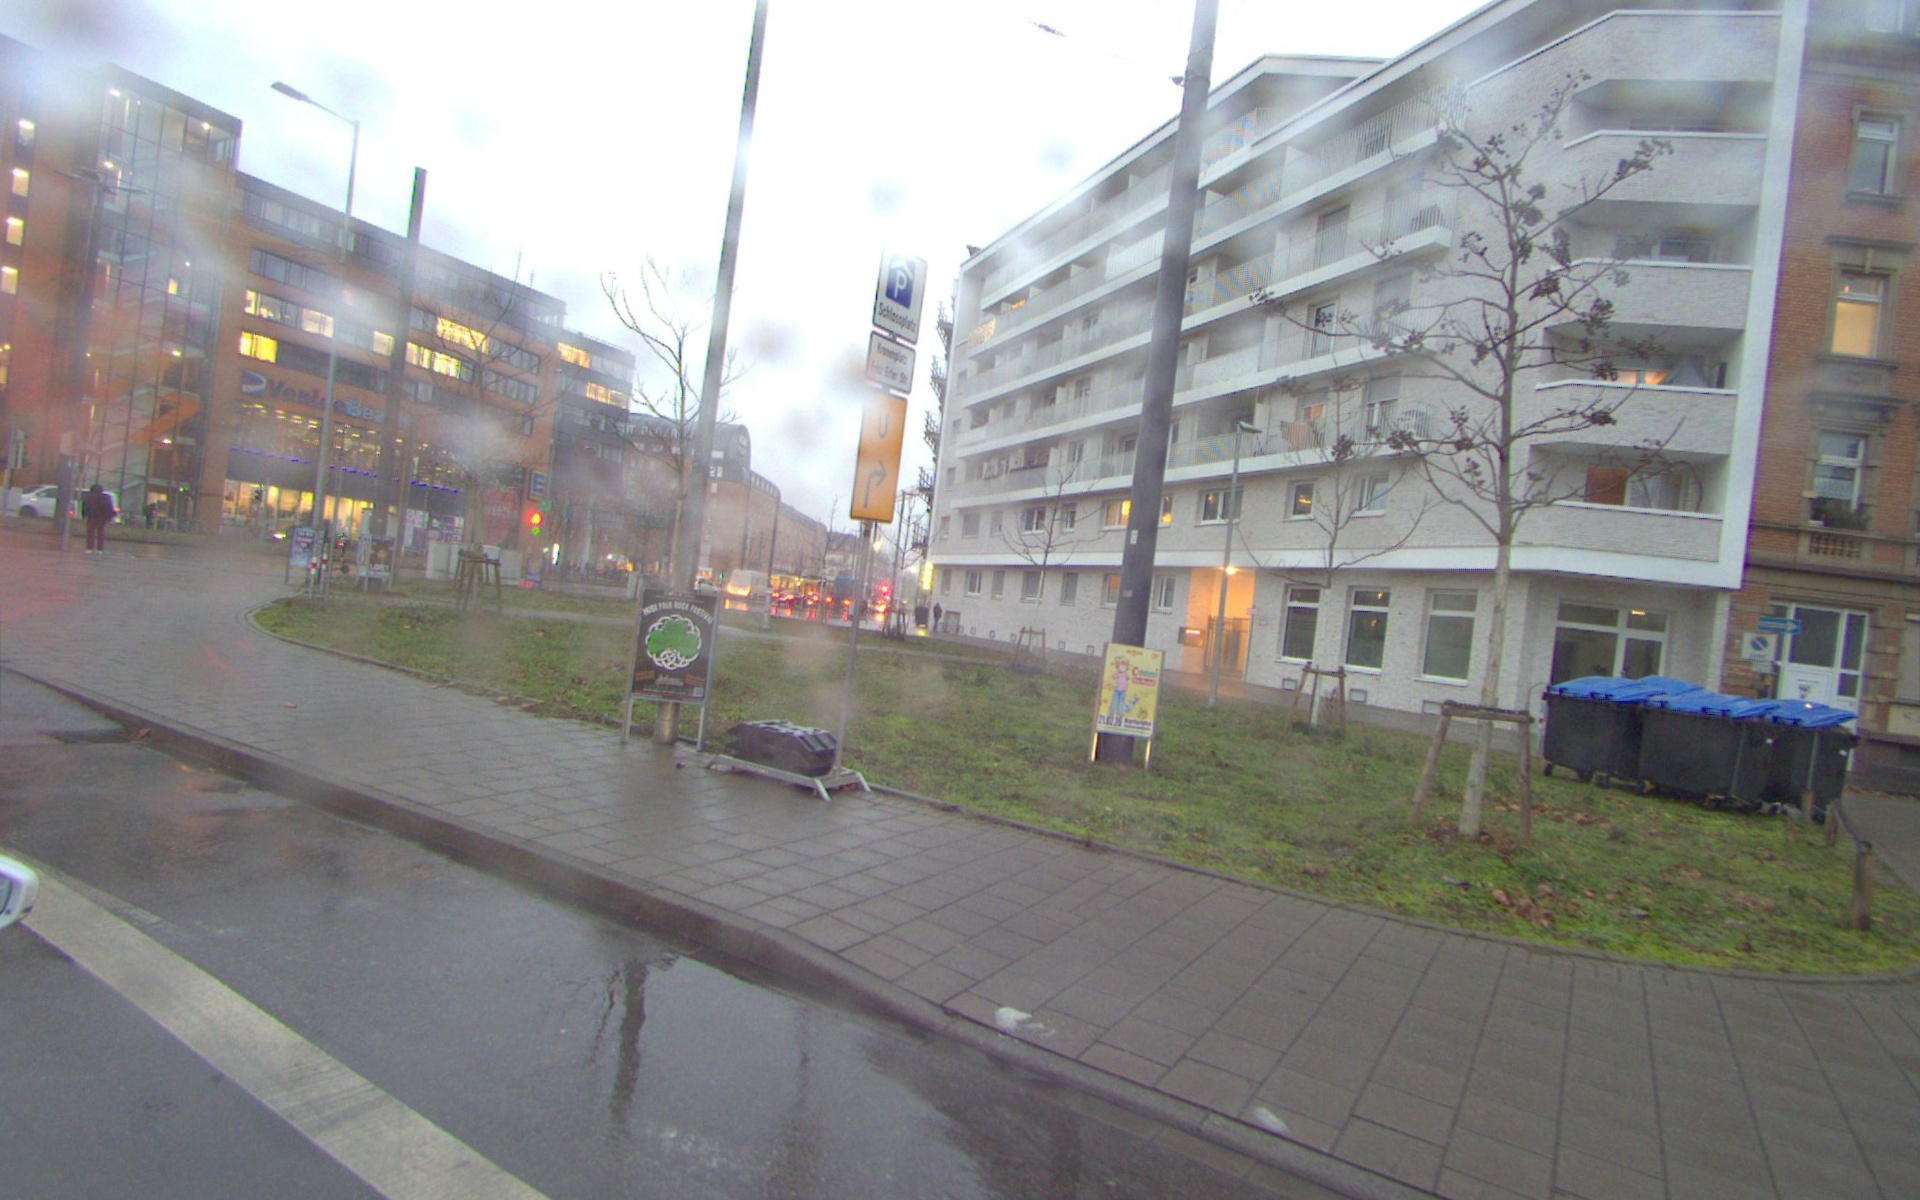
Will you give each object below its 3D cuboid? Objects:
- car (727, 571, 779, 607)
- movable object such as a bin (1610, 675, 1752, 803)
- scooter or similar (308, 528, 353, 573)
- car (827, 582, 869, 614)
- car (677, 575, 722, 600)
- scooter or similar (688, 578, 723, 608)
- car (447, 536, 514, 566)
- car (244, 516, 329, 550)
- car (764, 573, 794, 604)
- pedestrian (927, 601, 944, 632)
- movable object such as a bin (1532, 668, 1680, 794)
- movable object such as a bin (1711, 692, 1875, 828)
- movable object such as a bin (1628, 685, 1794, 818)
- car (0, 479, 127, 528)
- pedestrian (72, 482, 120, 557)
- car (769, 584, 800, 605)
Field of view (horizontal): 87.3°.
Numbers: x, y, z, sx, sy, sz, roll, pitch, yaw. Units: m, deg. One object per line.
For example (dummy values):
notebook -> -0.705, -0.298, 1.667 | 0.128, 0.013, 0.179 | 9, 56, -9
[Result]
car -> -17.392, -0.868, 84.706 | 1.962, 2.456, 5.979 | 7, -1, 10
movable object such as a bin -> 10.379, 1.980, 14.519 | 1.038, 1.595, 1.135 | 7, 0, -19
scooter or similar -> -18.646, -1.448, 29.810 | 0.327, 1.221, 1.309 | 7, 0, 4
car -> -11.975, -0.190, 107.750 | 2.317, 2.860, 6.364 | 7, -1, 12
car -> -19.689, -0.907, 76.239 | 1.613, 1.514, 3.687 | 7, 0, 14
scooter or similar -> -12.329, -0.352, 48.702 | 0.658, 1.241, 1.556 | 6, -2, 26
car -> -37.391, -3.802, 78.552 | 1.893, 1.740, 4.611 | 7, -1, 20
car -> -42.573, -4.209, 63.691 | 1.598, 1.462, 4.426 | 7, -1, 15
car -> -19.438, -1.183, 108.372 | 2.321, 2.860, 6.355 | 7, -1, -5
pedestrian -> -1.382, 0.921, 56.802 | 0.621, 1.652, 0.722 | 7, 0, 18
movable object such as a bin -> 9.068, 1.819, 14.165 | 1.038, 1.529, 1.247 | 7, 0, -19
movable object such as a bin -> 10.767, 2.049, 13.033 | 1.038, 1.503, 1.135 | 7, 0, -19
movable object such as a bin -> 9.639, 1.923, 12.960 | 1.038, 1.449, 1.220 | 7, 0, -19
car -> -46.403, -4.961, 52.120 | 1.754, 1.697, 4.651 | 7, -1, 22
pedestrian -> -23.304, -2.161, 27.142 | 0.768, 1.901, 0.629 | 6, 1, -36
car -> -15.903, -0.444, 91.517 | 1.494, 1.538, 3.474 | 7, -1, 11
